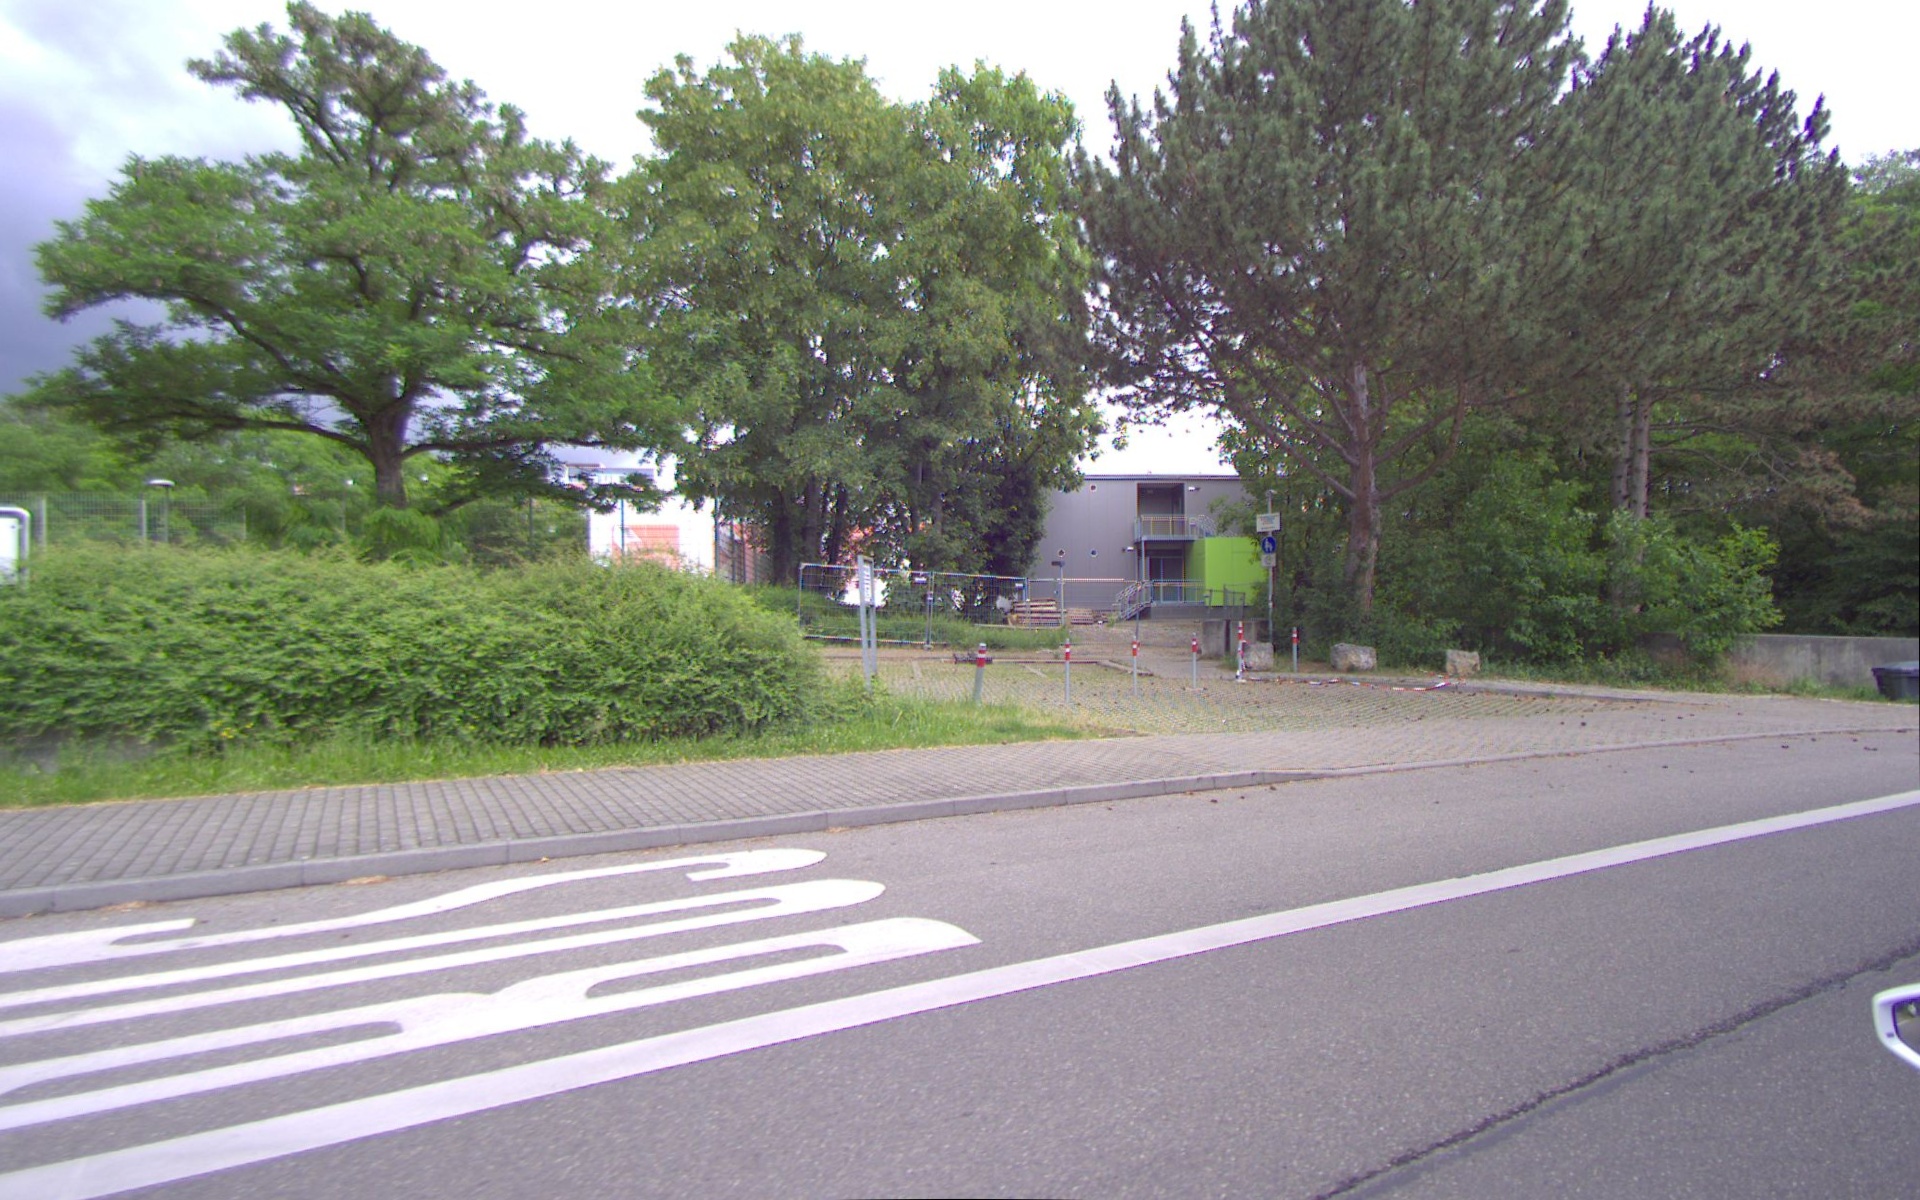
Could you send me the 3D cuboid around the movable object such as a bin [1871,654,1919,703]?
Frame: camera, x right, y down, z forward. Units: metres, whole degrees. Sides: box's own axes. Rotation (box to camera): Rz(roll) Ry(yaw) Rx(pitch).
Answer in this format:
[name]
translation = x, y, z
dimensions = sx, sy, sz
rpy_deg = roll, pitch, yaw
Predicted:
[movable object such as a bin]
translation = 16.363, 1.336, 17.025
dimensions = 1.126, 0.770, 1.048
rpy_deg = 2, 0, 28
